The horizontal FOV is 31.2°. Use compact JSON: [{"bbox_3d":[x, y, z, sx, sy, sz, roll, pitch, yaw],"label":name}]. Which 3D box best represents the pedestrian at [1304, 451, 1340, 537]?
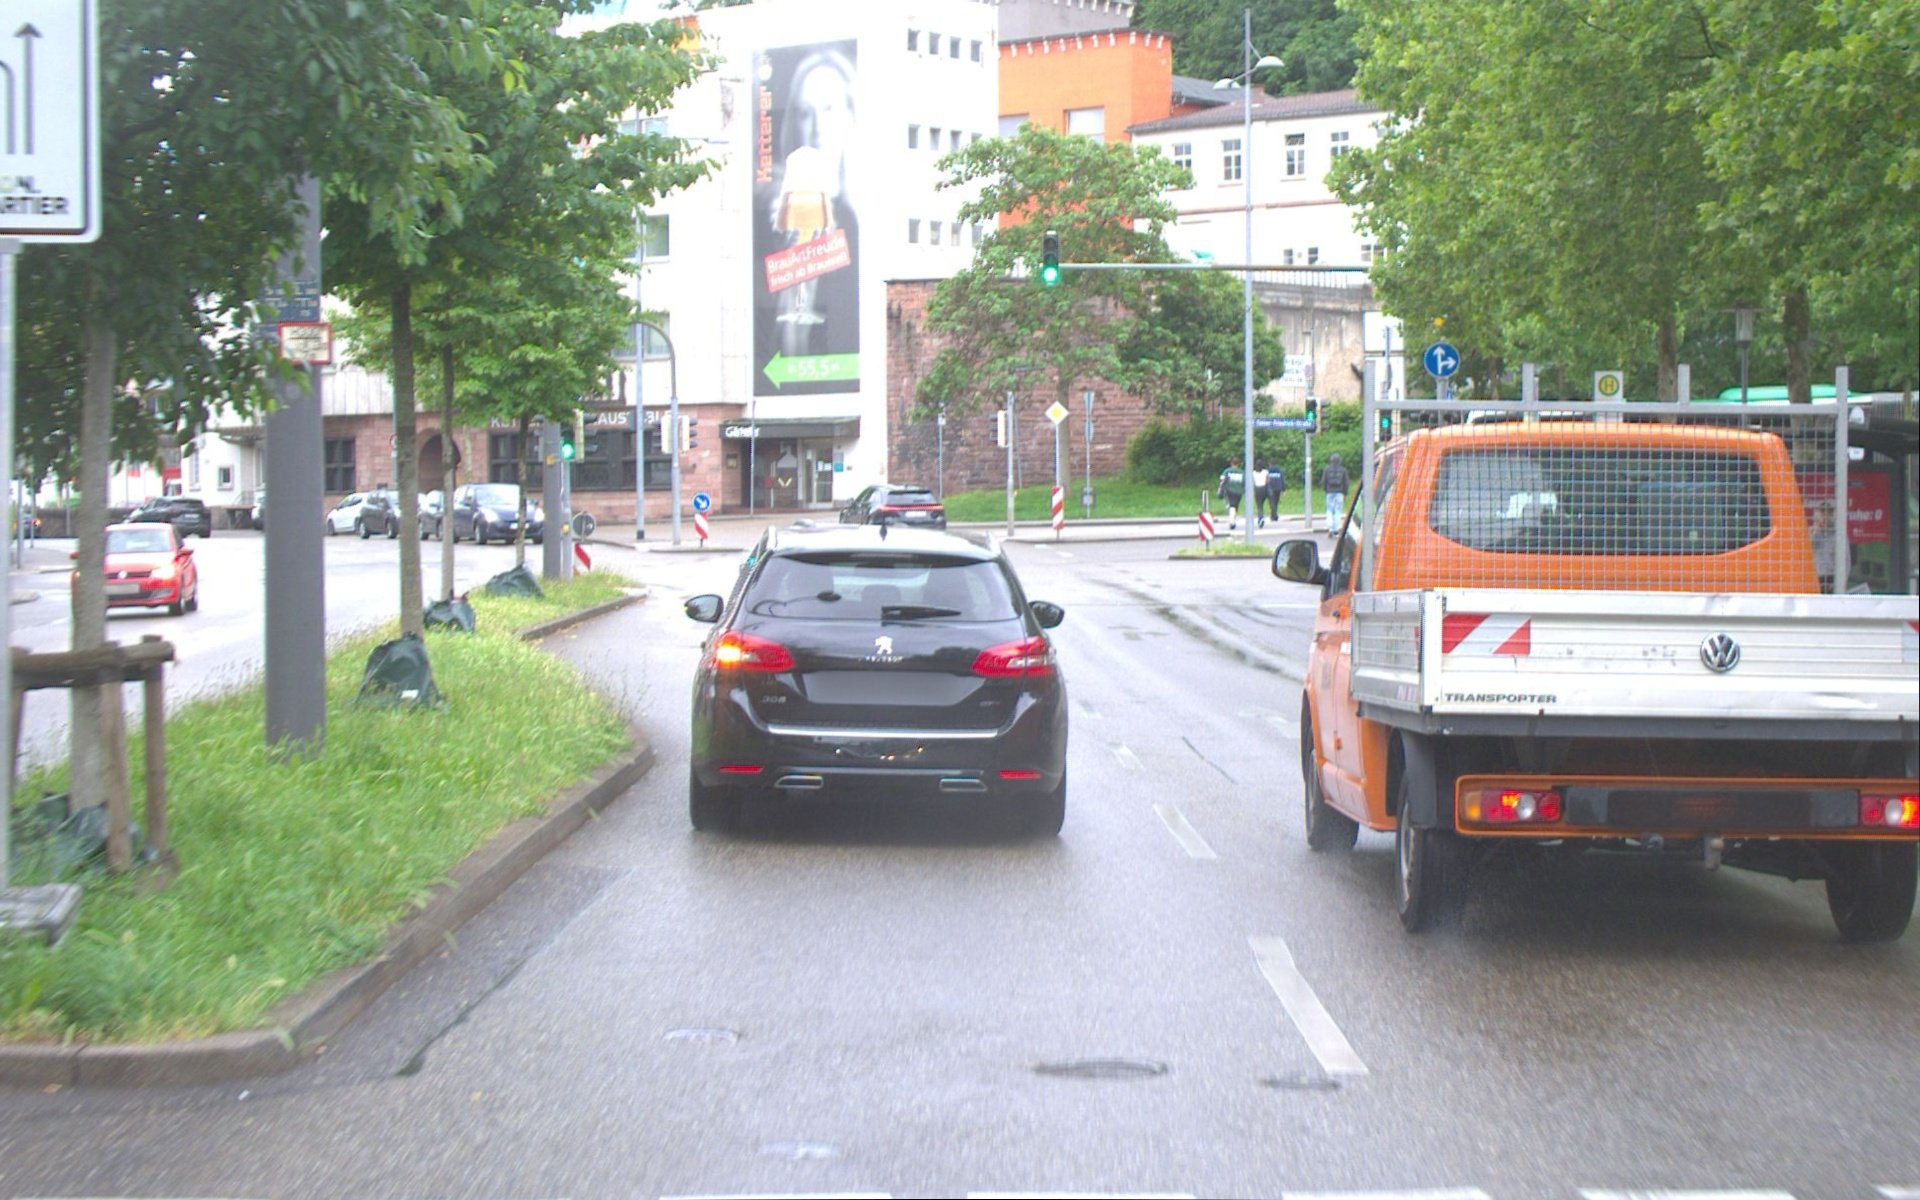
[{"bbox_3d":[8.430,-2.469,80.023,0.717,1.986,0.563,-1,3,-5],"label":"pedestrian"}]

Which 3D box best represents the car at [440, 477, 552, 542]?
[{"bbox_3d":[-12.237,-2.362,90.507,1.644,1.559,3.600,3,-1,-29],"label":"car"}]

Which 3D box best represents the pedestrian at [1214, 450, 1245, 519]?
[{"bbox_3d":[6.531,-2.798,83.242,0.639,1.658,0.563,-1,3,-5],"label":"pedestrian"}]

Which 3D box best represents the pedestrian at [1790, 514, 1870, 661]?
[{"bbox_3d":[10.192,-0.155,40.303,0.724,1.694,0.623,1,1,-3],"label":"pedestrian"}]

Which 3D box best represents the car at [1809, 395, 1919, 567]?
[{"bbox_3d":[16.854,-2.093,61.375,2.072,2.960,4.228,1,1,-4],"label":"car"}]

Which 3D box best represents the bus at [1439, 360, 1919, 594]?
[{"bbox_3d":[20.407,-2.796,80.213,17.917,5.193,3.099,1,1,-1],"label":"bus"}]

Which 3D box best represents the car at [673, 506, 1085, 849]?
[{"bbox_3d":[-0.421,0.298,17.278,1.795,1.478,4.001,2,1,-2],"label":"car"}]

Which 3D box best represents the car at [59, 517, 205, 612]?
[{"bbox_3d":[-12.819,-0.576,53.393,1.690,1.396,3.662,0,2,-5],"label":"car"}]

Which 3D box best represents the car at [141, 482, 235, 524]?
[{"bbox_3d":[-28.250,-3.547,125.721,3.598,1.505,1.596,2,2,43],"label":"car"}]

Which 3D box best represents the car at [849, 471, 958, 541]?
[{"bbox_3d":[-1.413,-2.287,84.614,1.644,1.559,3.601,3,-1,-17],"label":"car"}]

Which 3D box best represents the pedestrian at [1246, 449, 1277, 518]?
[{"bbox_3d":[7.310,-2.830,83.351,0.639,1.658,0.563,-1,3,-5],"label":"pedestrian"}]

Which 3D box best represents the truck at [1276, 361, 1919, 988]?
[{"bbox_3d":[2.540,0.182,13.588,2.122,2.018,4.716,1,2,0],"label":"truck"}]

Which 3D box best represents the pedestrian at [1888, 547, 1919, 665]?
[{"bbox_3d":[11.182,0.065,39.798,0.621,1.353,0.727,1,1,-2],"label":"pedestrian"}]

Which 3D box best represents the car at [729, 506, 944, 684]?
[{"bbox_3d":[-1.091,-0.098,30.809,1.795,1.478,4.001,0,2,-2],"label":"car"}]

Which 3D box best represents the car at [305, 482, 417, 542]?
[{"bbox_3d":[-19.990,-2.951,114.658,1.994,1.941,3.999,0,2,-38],"label":"car"}]

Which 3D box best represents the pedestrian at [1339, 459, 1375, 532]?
[{"bbox_3d":[9.234,-2.440,79.983,0.717,1.658,0.563,-1,3,-5],"label":"pedestrian"}]
